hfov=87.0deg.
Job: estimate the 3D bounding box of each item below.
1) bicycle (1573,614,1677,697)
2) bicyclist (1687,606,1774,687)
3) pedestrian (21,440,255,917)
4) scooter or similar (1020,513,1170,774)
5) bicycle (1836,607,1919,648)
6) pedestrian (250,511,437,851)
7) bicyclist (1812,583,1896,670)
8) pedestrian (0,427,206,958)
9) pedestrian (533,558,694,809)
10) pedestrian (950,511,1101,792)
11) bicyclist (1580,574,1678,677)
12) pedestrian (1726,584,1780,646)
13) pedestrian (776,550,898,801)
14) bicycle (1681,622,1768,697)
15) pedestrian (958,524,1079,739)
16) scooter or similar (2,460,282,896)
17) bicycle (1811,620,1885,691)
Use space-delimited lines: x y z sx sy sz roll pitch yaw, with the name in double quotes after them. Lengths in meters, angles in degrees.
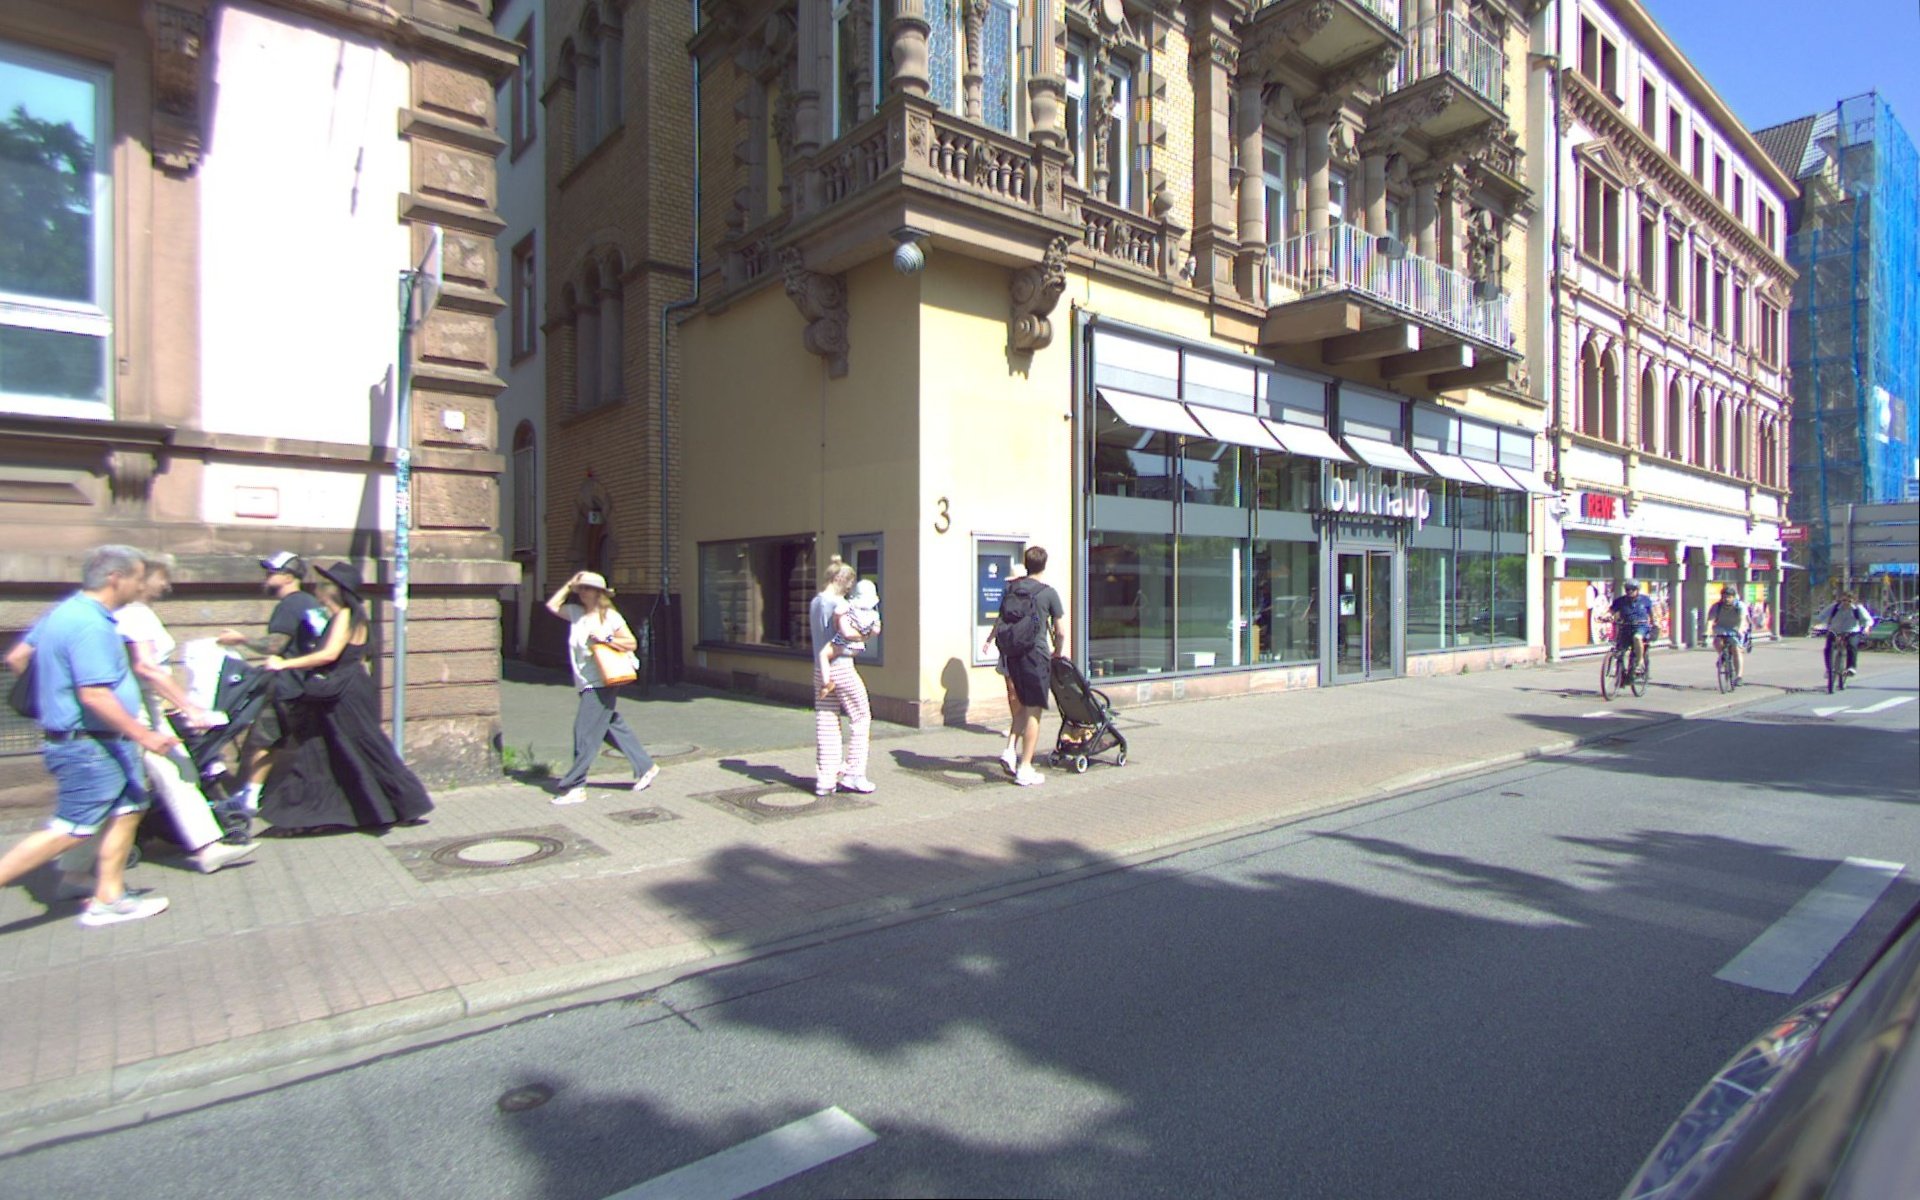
9.914 0.783 15.044 2.453 1.096 0.643 0 1 -41 "bicycle"
12.765 0.739 16.757 1.211 1.250 0.912 0 1 -41 "bicyclist"
-3.946 0.318 4.878 0.801 2.038 0.813 0 2 -41 "pedestrian"
1.146 0.333 8.534 1.076 2.039 0.693 0 1 -41 "scooter or similar"
27.223 0.798 29.485 0.631 1.096 2.496 1 1 -36 "bicycle"
-3.634 0.413 5.954 0.801 1.815 0.813 0 2 -41 "pedestrian"
15.280 0.428 17.297 1.211 1.411 0.912 0 1 -41 "bicyclist"
-3.777 0.348 4.345 0.801 2.039 0.813 0 1 -41 "pedestrian"
-2.458 0.533 7.159 0.801 1.622 0.813 0 3 -41 "pedestrian"
0.510 0.361 7.895 0.801 2.039 0.813 0 1 -41 "pedestrian"
9.874 0.349 14.933 1.211 1.454 0.912 0 1 -41 "bicyclist"
21.730 0.396 27.730 1.211 1.620 0.912 0 2 -41 "pedestrian"
-0.902 0.503 7.392 0.617 1.716 0.707 -1 1 -37 "pedestrian"
12.603 0.943 16.656 2.453 1.096 0.643 0 1 -41 "bicycle"
0.581 0.277 10.142 0.801 2.038 0.813 0 2 -41 "pedestrian"
-4.285 0.357 5.348 1.076 2.039 0.693 0 1 -41 "scooter or similar"
15.213 0.913 17.317 2.453 1.096 0.643 0 1 -42 "bicycle"
